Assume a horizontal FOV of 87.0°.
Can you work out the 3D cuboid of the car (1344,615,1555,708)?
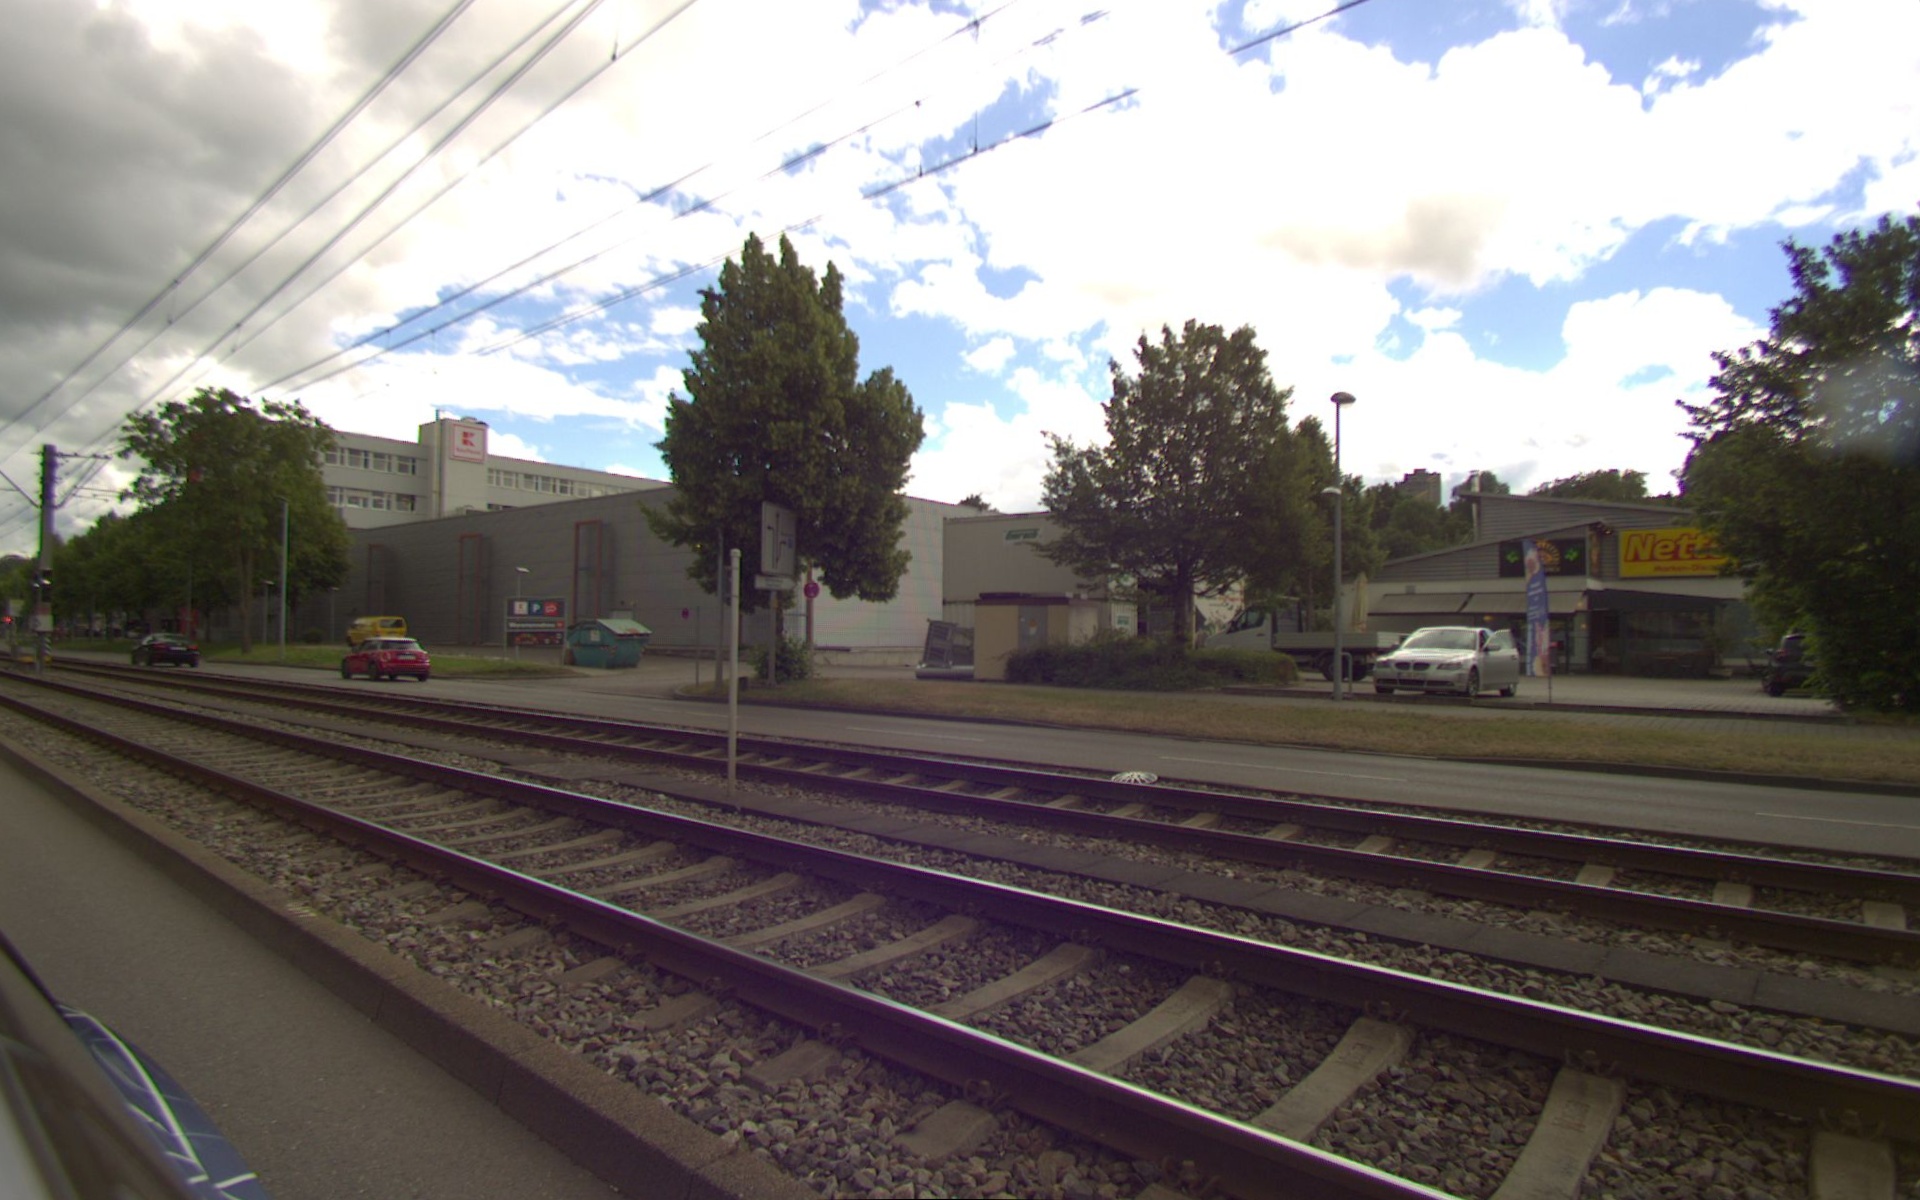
[{"bbox_3d":[10.028,1.211,20.553,2.651,1.641,4.730,-3,-4,42],"label":"car"}]

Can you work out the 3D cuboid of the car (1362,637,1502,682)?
[{"bbox_3d":[15.593,1.940,33.494,3.991,1.411,1.595,-1,-3,36],"label":"car"}]

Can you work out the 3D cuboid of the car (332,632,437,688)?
[{"bbox_3d":[-19.453,1.975,34.143,3.996,1.785,1.774,-2,-3,40],"label":"car"}]

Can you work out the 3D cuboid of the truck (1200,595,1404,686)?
[{"bbox_3d":[9.829,1.182,29.372,5.261,2.401,1.972,-2,-4,41],"label":"truck"}]

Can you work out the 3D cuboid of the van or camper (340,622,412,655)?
[{"bbox_3d":[-36.681,2.405,63.512,5.235,2.029,2.083,-2,-2,38],"label":"van or camper"}]

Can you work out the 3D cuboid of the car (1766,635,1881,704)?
[{"bbox_3d":[21.890,1.704,25.617,3.938,1.608,1.695,2,-3,-42],"label":"car"}]

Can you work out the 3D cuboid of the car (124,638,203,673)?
[{"bbox_3d":[-34.370,2.378,43.638,4.440,1.412,1.741,-2,-5,40],"label":"car"}]
